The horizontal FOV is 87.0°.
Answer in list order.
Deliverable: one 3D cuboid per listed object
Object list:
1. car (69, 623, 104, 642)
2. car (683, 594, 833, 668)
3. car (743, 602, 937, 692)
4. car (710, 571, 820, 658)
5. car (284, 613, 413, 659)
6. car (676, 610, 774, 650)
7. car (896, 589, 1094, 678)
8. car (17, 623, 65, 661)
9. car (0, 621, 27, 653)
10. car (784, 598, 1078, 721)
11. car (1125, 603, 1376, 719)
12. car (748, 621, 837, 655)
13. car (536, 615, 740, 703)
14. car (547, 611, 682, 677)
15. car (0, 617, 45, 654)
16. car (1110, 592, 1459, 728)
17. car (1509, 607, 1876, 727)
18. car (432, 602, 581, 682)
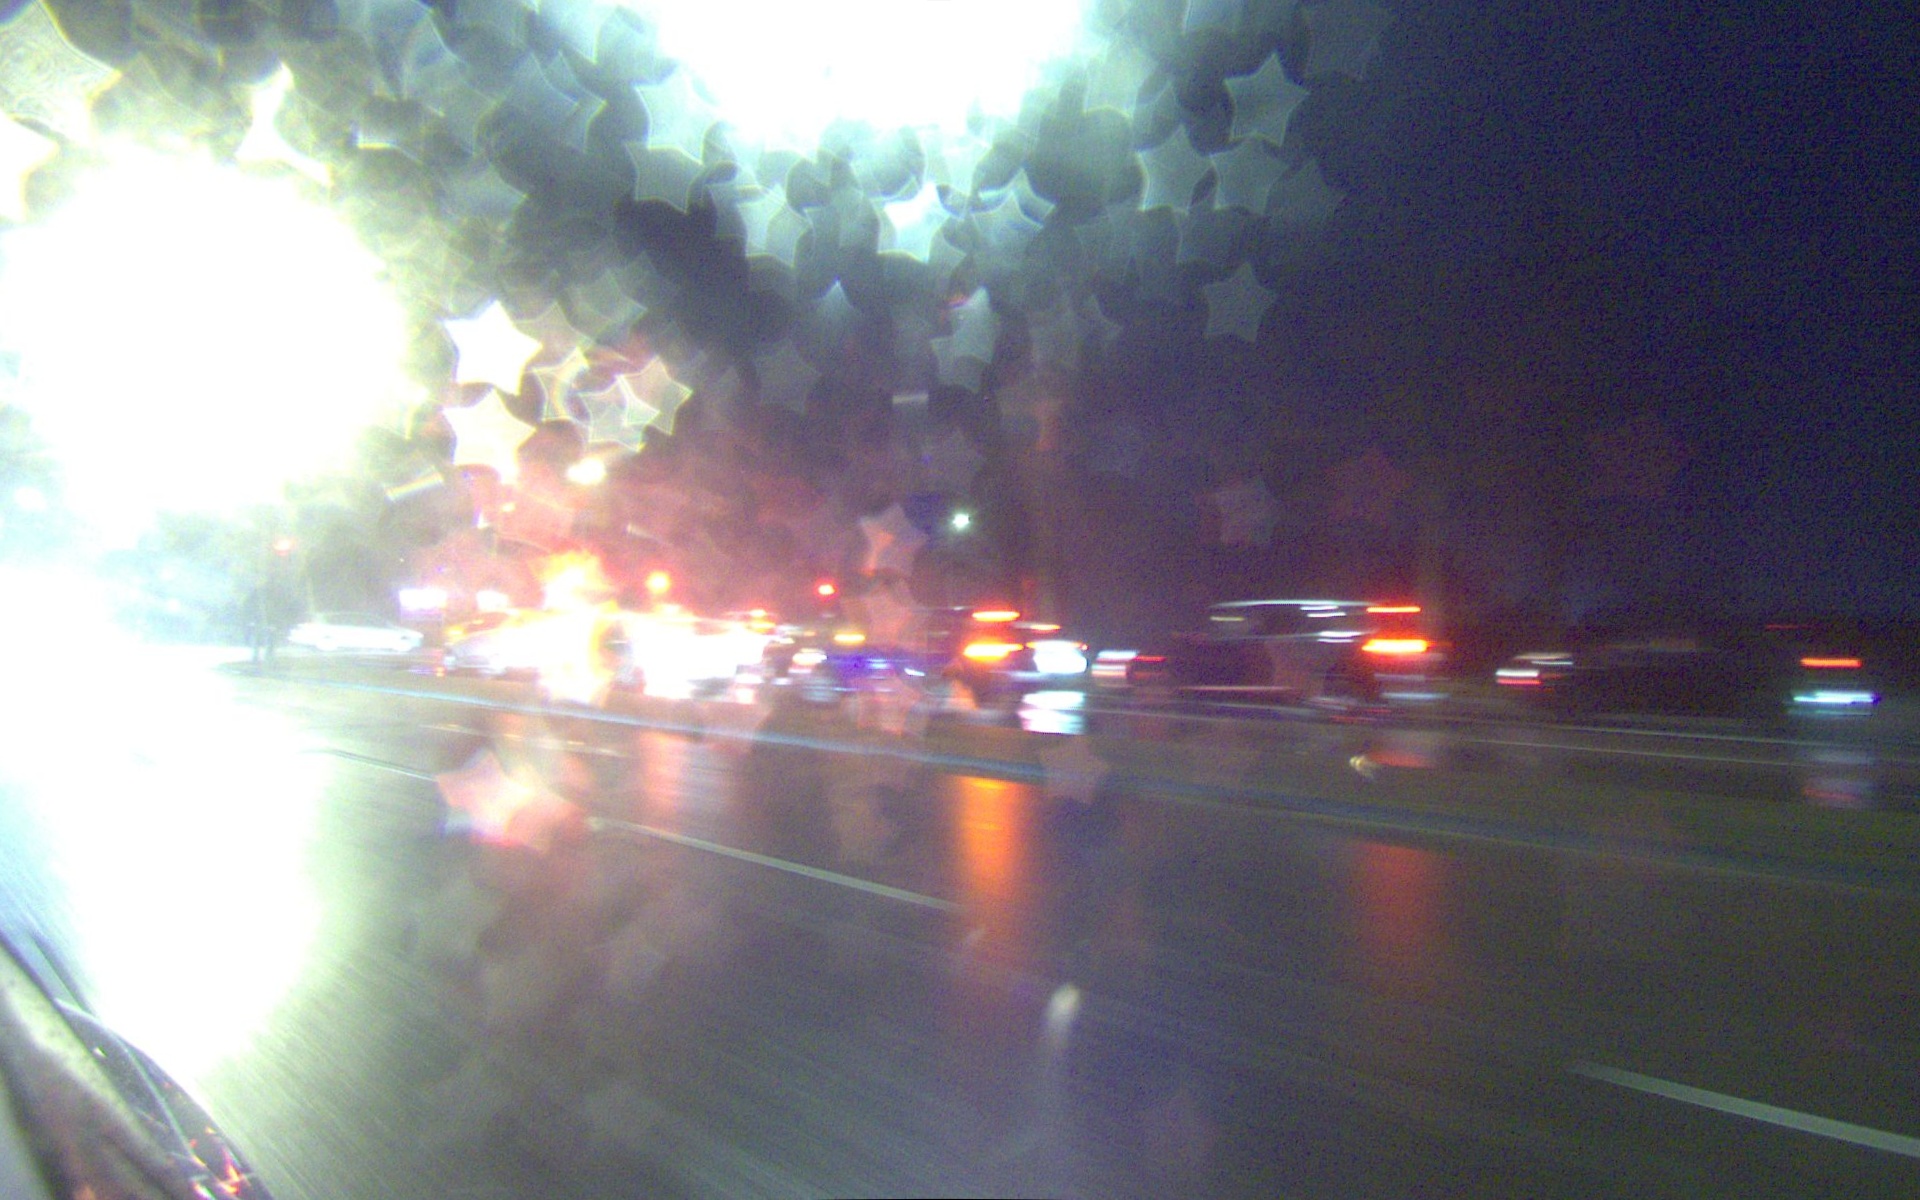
[{"bbox_3d":[-79.336,2.906,91.905,4.035,1.485,1.811,2,2,41],"label":"car"},{"bbox_3d":[-5.570,0.821,27.617,4.282,1.862,1.741,-1,-1,41],"label":"car"},{"bbox_3d":[-2.543,0.894,20.945,3.974,1.678,1.780,0,-1,41],"label":"car"},{"bbox_3d":[-6.793,0.478,34.681,2.217,2.730,5.627,0,-1,-27],"label":"car"},{"bbox_3d":[-24.872,1.437,41.230,1.789,1.607,4.176,-8,-5,44],"label":"car"},{"bbox_3d":[-11.683,1.466,50.422,1.784,1.844,4.491,1,0,45],"label":"car"},{"bbox_3d":[0.717,0.718,22.683,4.247,1.813,1.780,-1,-1,41],"label":"car"},{"bbox_3d":[-50.257,2.259,55.320,4.148,1.868,1.644,1,0,44],"label":"car"},{"bbox_3d":[-63.333,2.409,67.244,3.610,1.953,1.689,1,0,43],"label":"car"},{"bbox_3d":[-0.523,0.818,15.163,4.302,1.590,1.794,-1,-2,40],"label":"car"},{"bbox_3d":[5.302,1.030,18.788,4.122,1.862,1.741,1,0,41],"label":"car"},{"bbox_3d":[-9.389,2.105,56.986,4.650,1.807,2.002,0,-1,-43],"label":"car"},{"bbox_3d":[-6.273,1.047,19.474,4.411,1.495,1.758,-1,-1,42],"label":"car"},{"bbox_3d":[-9.096,1.092,26.511,4.060,1.498,1.693,1,0,45],"label":"car"},{"bbox_3d":[-56.520,2.078,60.938,4.148,2.039,1.768,1,0,44],"label":"car"},{"bbox_3d":[4.571,0.778,14.700,4.486,1.678,1.779,-1,-1,42],"label":"car"},{"bbox_3d":[10.261,0.847,14.403,4.037,1.387,1.741,1,0,41],"label":"car"},{"bbox_3d":[-10.728,0.943,23.848,3.899,1.738,1.741,-1,-1,41],"label":"car"}]
